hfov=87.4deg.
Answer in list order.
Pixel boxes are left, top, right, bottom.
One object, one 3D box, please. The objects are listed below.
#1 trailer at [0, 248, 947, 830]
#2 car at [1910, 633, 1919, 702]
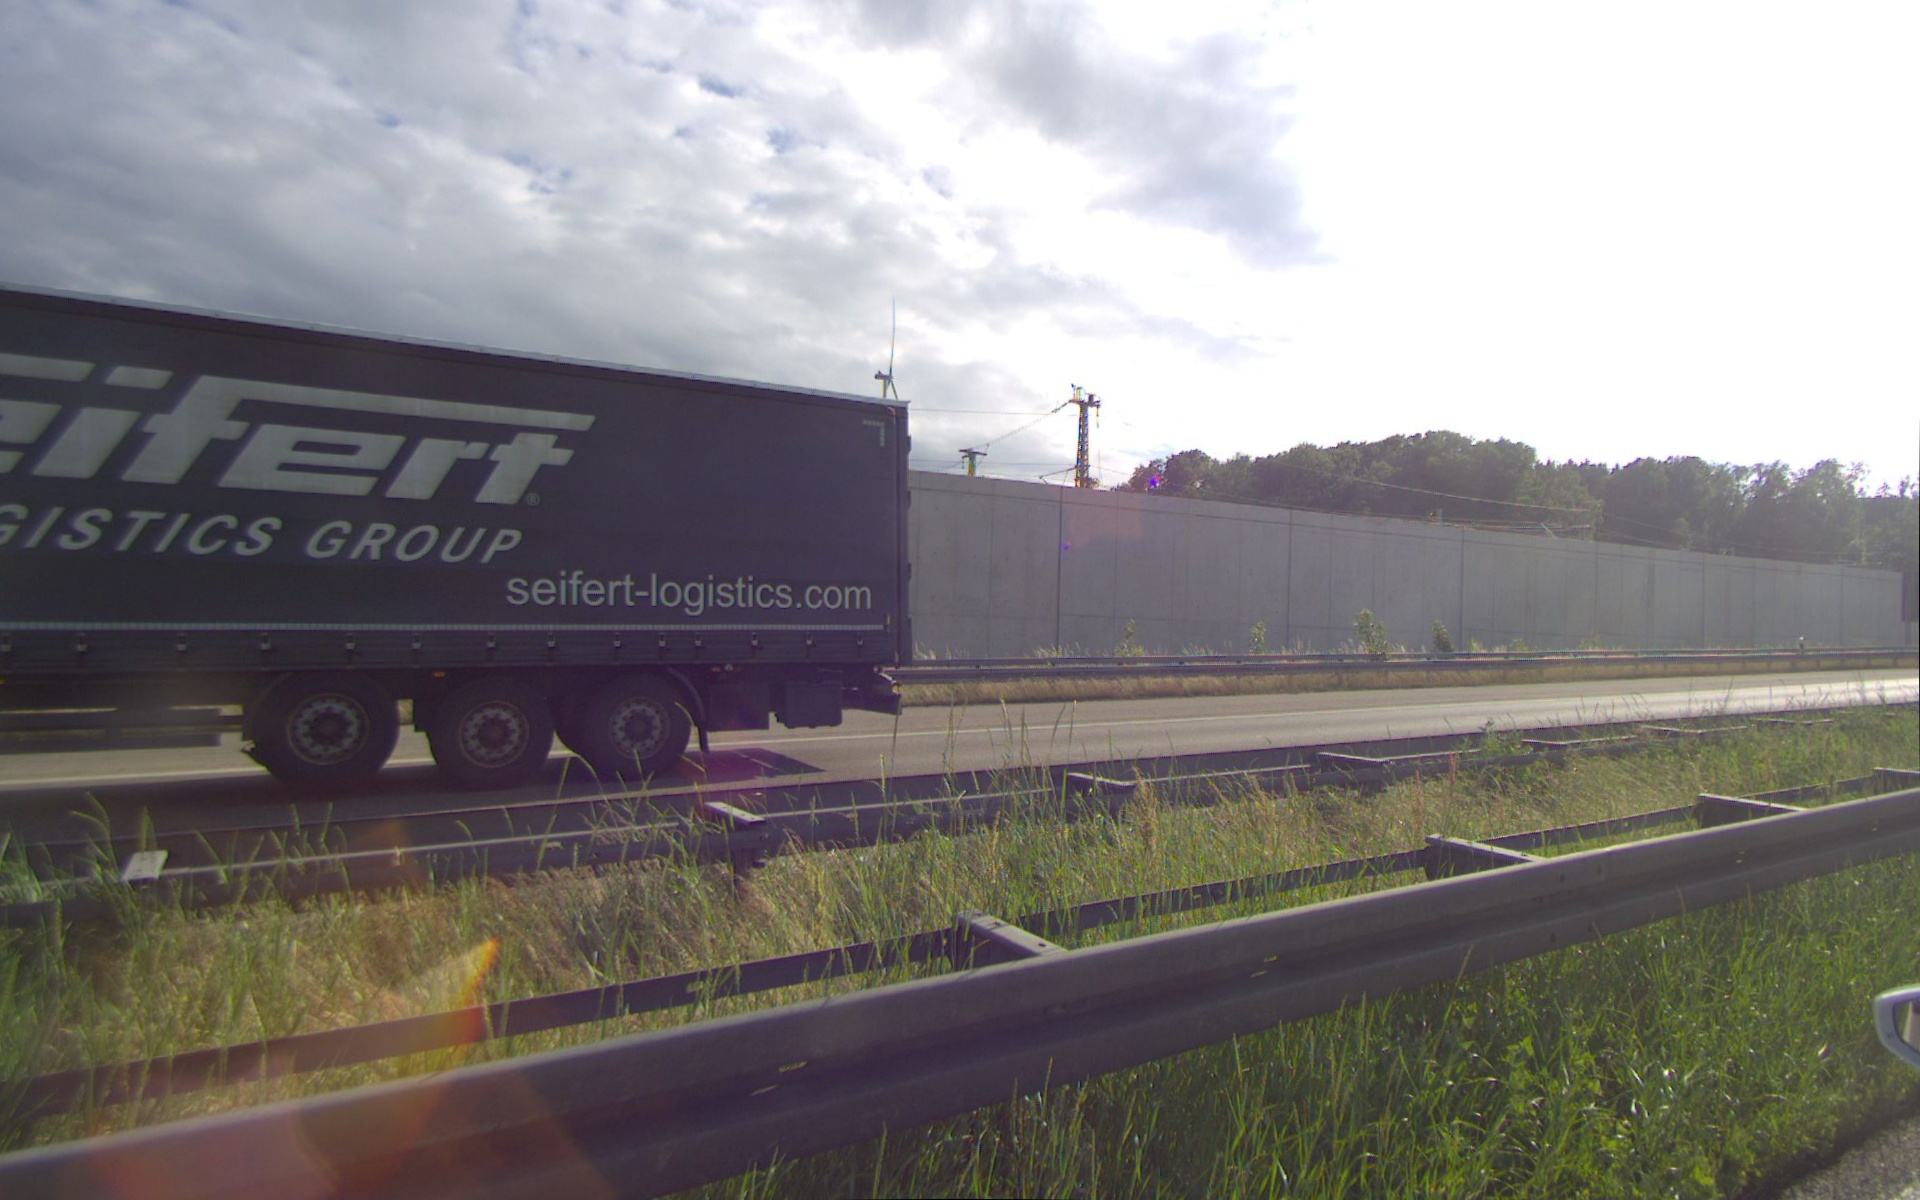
[{"bbox_3d":[-6.368,-0.391,9.094,12.752,4.169,2.746,2,-1,-30],"label":"trailer"},{"bbox_3d":[22.698,1.517,21.834,4.135,1.483,1.893,2,0,-31],"label":"car"}]
